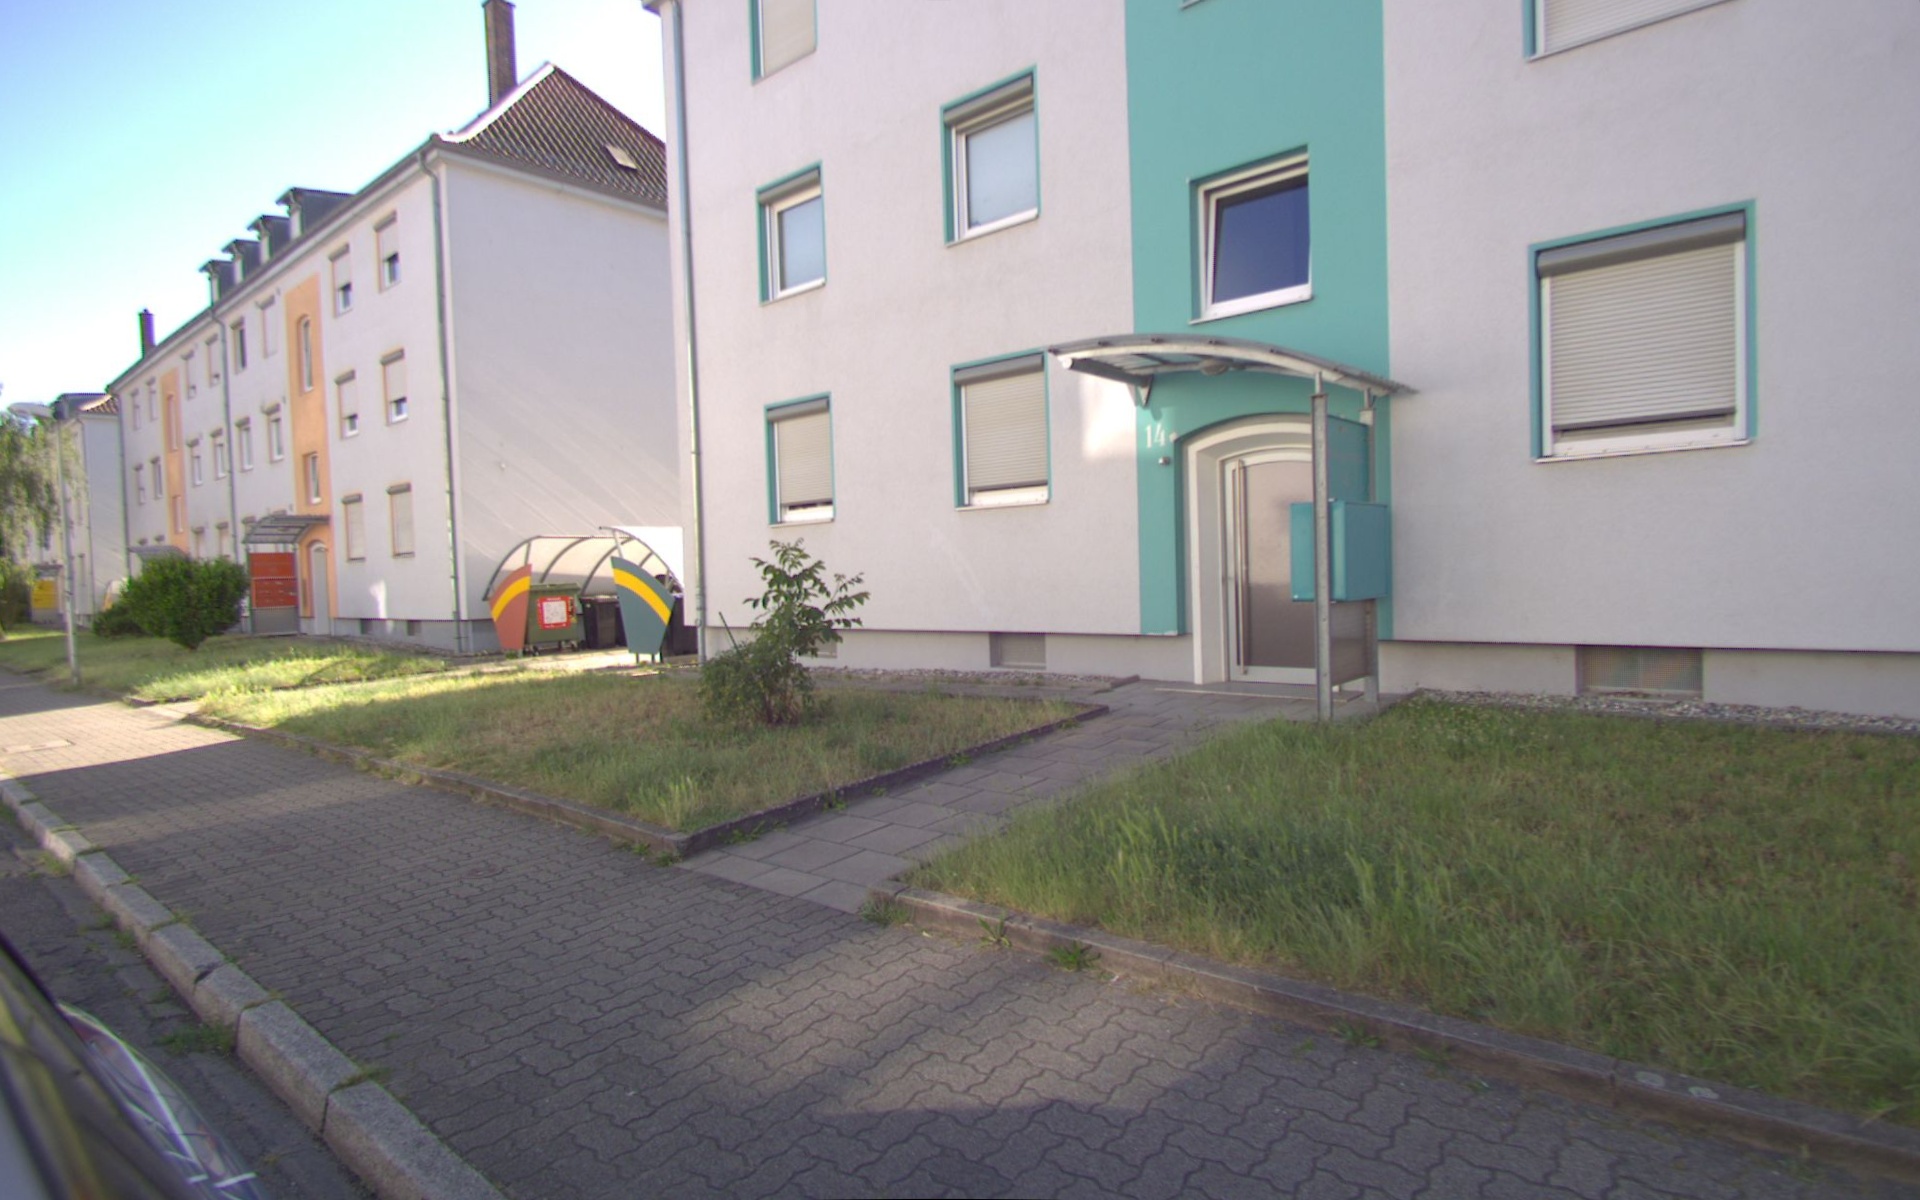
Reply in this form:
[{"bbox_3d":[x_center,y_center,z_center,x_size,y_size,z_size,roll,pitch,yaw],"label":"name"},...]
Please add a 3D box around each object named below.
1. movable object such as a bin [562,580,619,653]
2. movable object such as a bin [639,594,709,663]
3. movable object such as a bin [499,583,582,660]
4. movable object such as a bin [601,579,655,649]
[{"bbox_3d":[-7.363,0.318,20.175,0.762,1.403,0.743,-1,1,41],"label":"movable object such as a bin"},{"bbox_3d":[-4.507,0.439,15.960,0.762,1.020,0.743,-1,1,41],"label":"movable object such as a bin"},{"bbox_3d":[-8.042,0.392,19.417,0.877,1.403,1.152,-1,1,41],"label":"movable object such as a bin"},{"bbox_3d":[-6.836,0.280,20.827,0.762,1.403,0.743,-1,1,41],"label":"movable object such as a bin"}]
